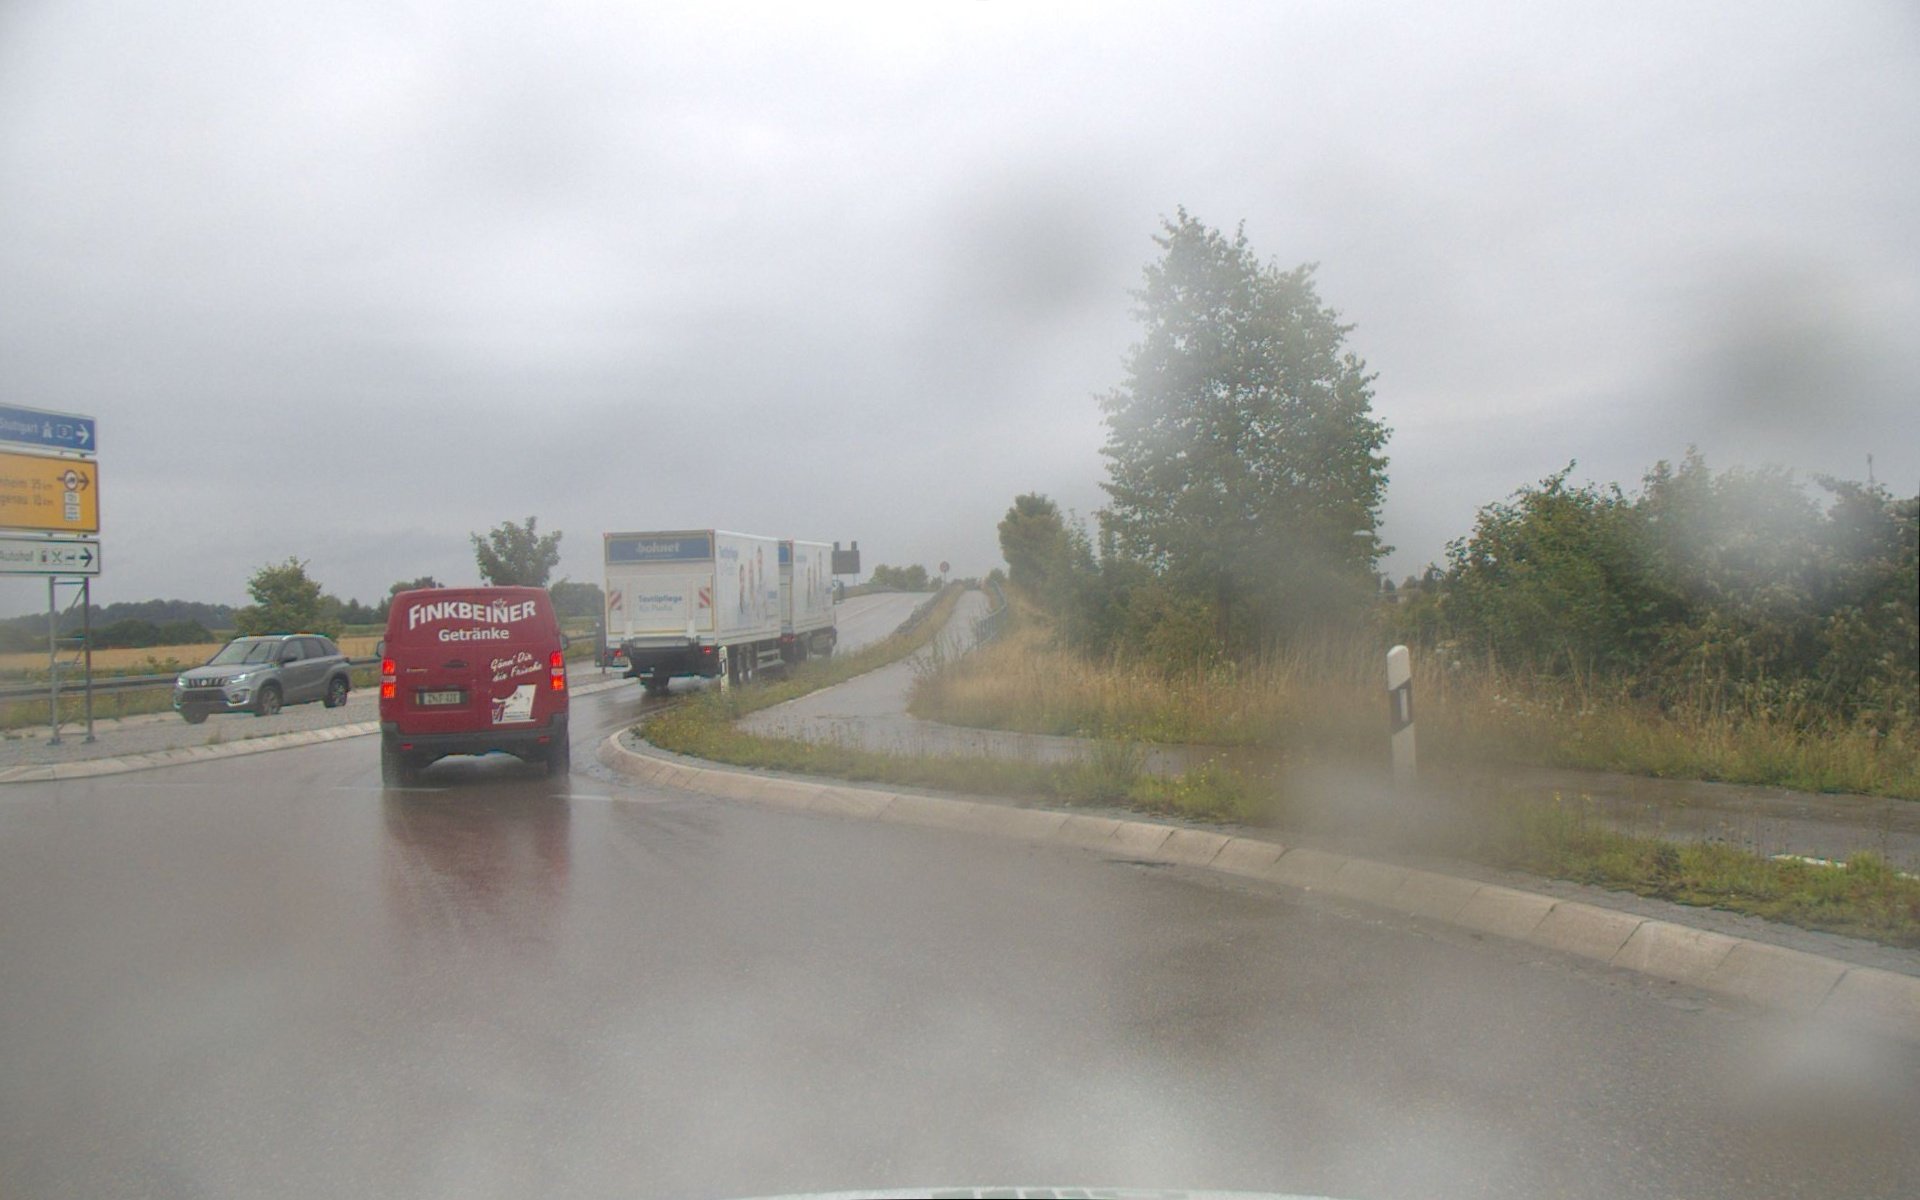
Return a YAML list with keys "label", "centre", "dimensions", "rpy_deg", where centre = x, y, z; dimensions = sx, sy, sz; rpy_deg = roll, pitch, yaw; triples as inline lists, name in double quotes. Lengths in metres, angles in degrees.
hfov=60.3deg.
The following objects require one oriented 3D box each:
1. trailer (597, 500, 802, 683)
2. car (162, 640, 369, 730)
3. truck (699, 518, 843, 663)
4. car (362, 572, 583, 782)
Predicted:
- label: "trailer"
  centre: [-6.121, -0.229, 40.790]
  dimensions: [2.772, 3.885, 9.720]
  rpy_deg: [-2, 0, 4]
- label: "car"
  centre: [-13.848, 1.667, 33.237]
  dimensions: [1.762, 1.602, 4.003]
  rpy_deg: [-1, -1, 14]
- label: "truck"
  centre: [-5.485, -0.294, 49.489]
  dimensions: [2.740, 3.885, 7.694]
  rpy_deg: [-2, 0, 4]
- label: "car"
  centre: [-5.509, 0.725, 18.290]
  dimensions: [1.964, 1.903, 4.949]
  rpy_deg: [-3, 1, -20]
